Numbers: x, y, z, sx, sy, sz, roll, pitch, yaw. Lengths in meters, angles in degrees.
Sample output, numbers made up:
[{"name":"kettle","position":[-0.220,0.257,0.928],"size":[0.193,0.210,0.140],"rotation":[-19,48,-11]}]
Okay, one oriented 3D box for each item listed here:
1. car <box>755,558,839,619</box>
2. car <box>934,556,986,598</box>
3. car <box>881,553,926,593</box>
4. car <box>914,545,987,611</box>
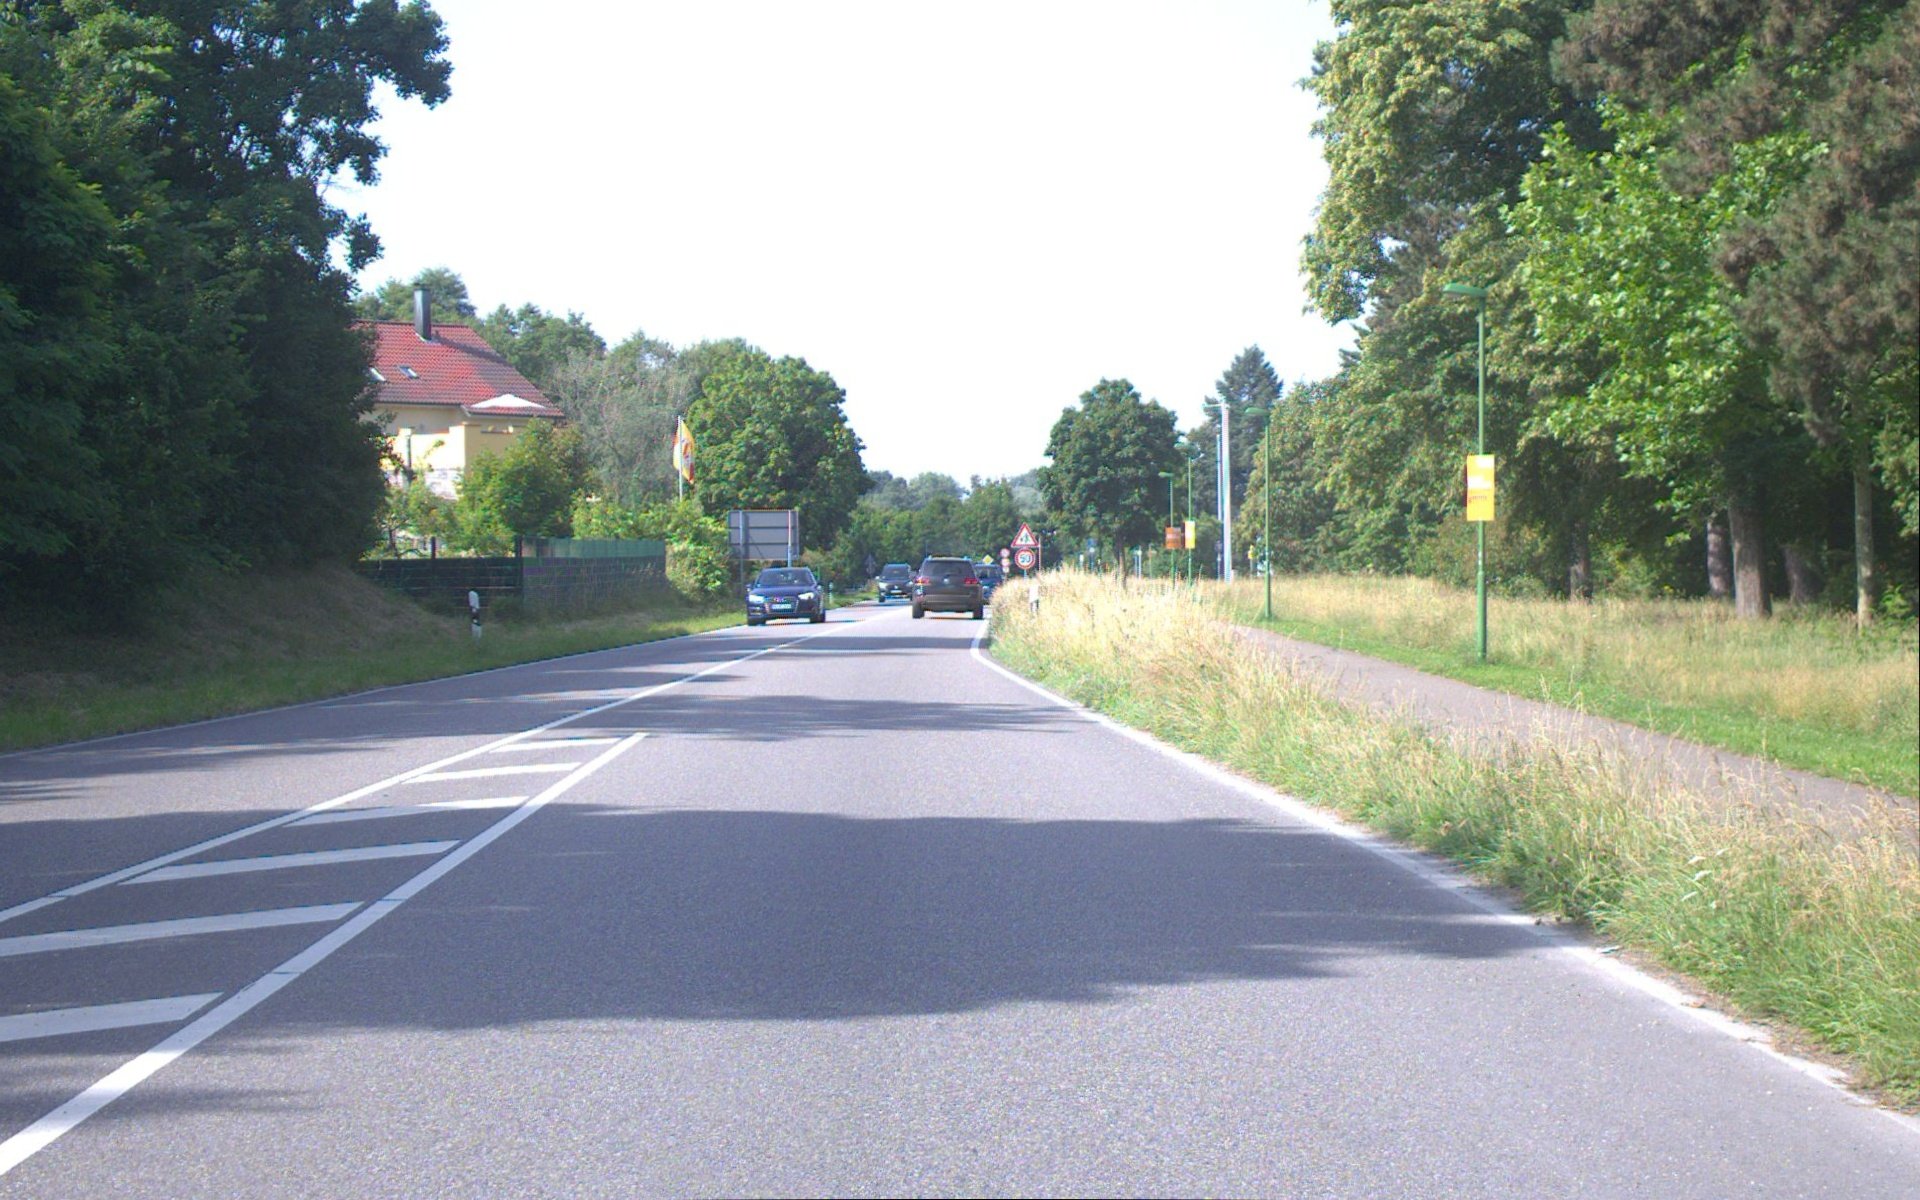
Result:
[{"name":"car","position":[-4.110,-0.321,87.421],"size":[1.870,1.418,4.577],"rotation":[-3,1,0]},{"name":"car","position":[-0.020,-0.870,129.357],"size":[1.735,1.511,3.915],"rotation":[-1,1,-3]},{"name":"car","position":[-2.731,-1.291,165.528],"size":[1.939,1.811,4.242],"rotation":[-2,0,-3]},{"name":"car","position":[-0.286,-0.614,94.699],"size":[1.925,1.765,4.000],"rotation":[-1,1,-1]}]
